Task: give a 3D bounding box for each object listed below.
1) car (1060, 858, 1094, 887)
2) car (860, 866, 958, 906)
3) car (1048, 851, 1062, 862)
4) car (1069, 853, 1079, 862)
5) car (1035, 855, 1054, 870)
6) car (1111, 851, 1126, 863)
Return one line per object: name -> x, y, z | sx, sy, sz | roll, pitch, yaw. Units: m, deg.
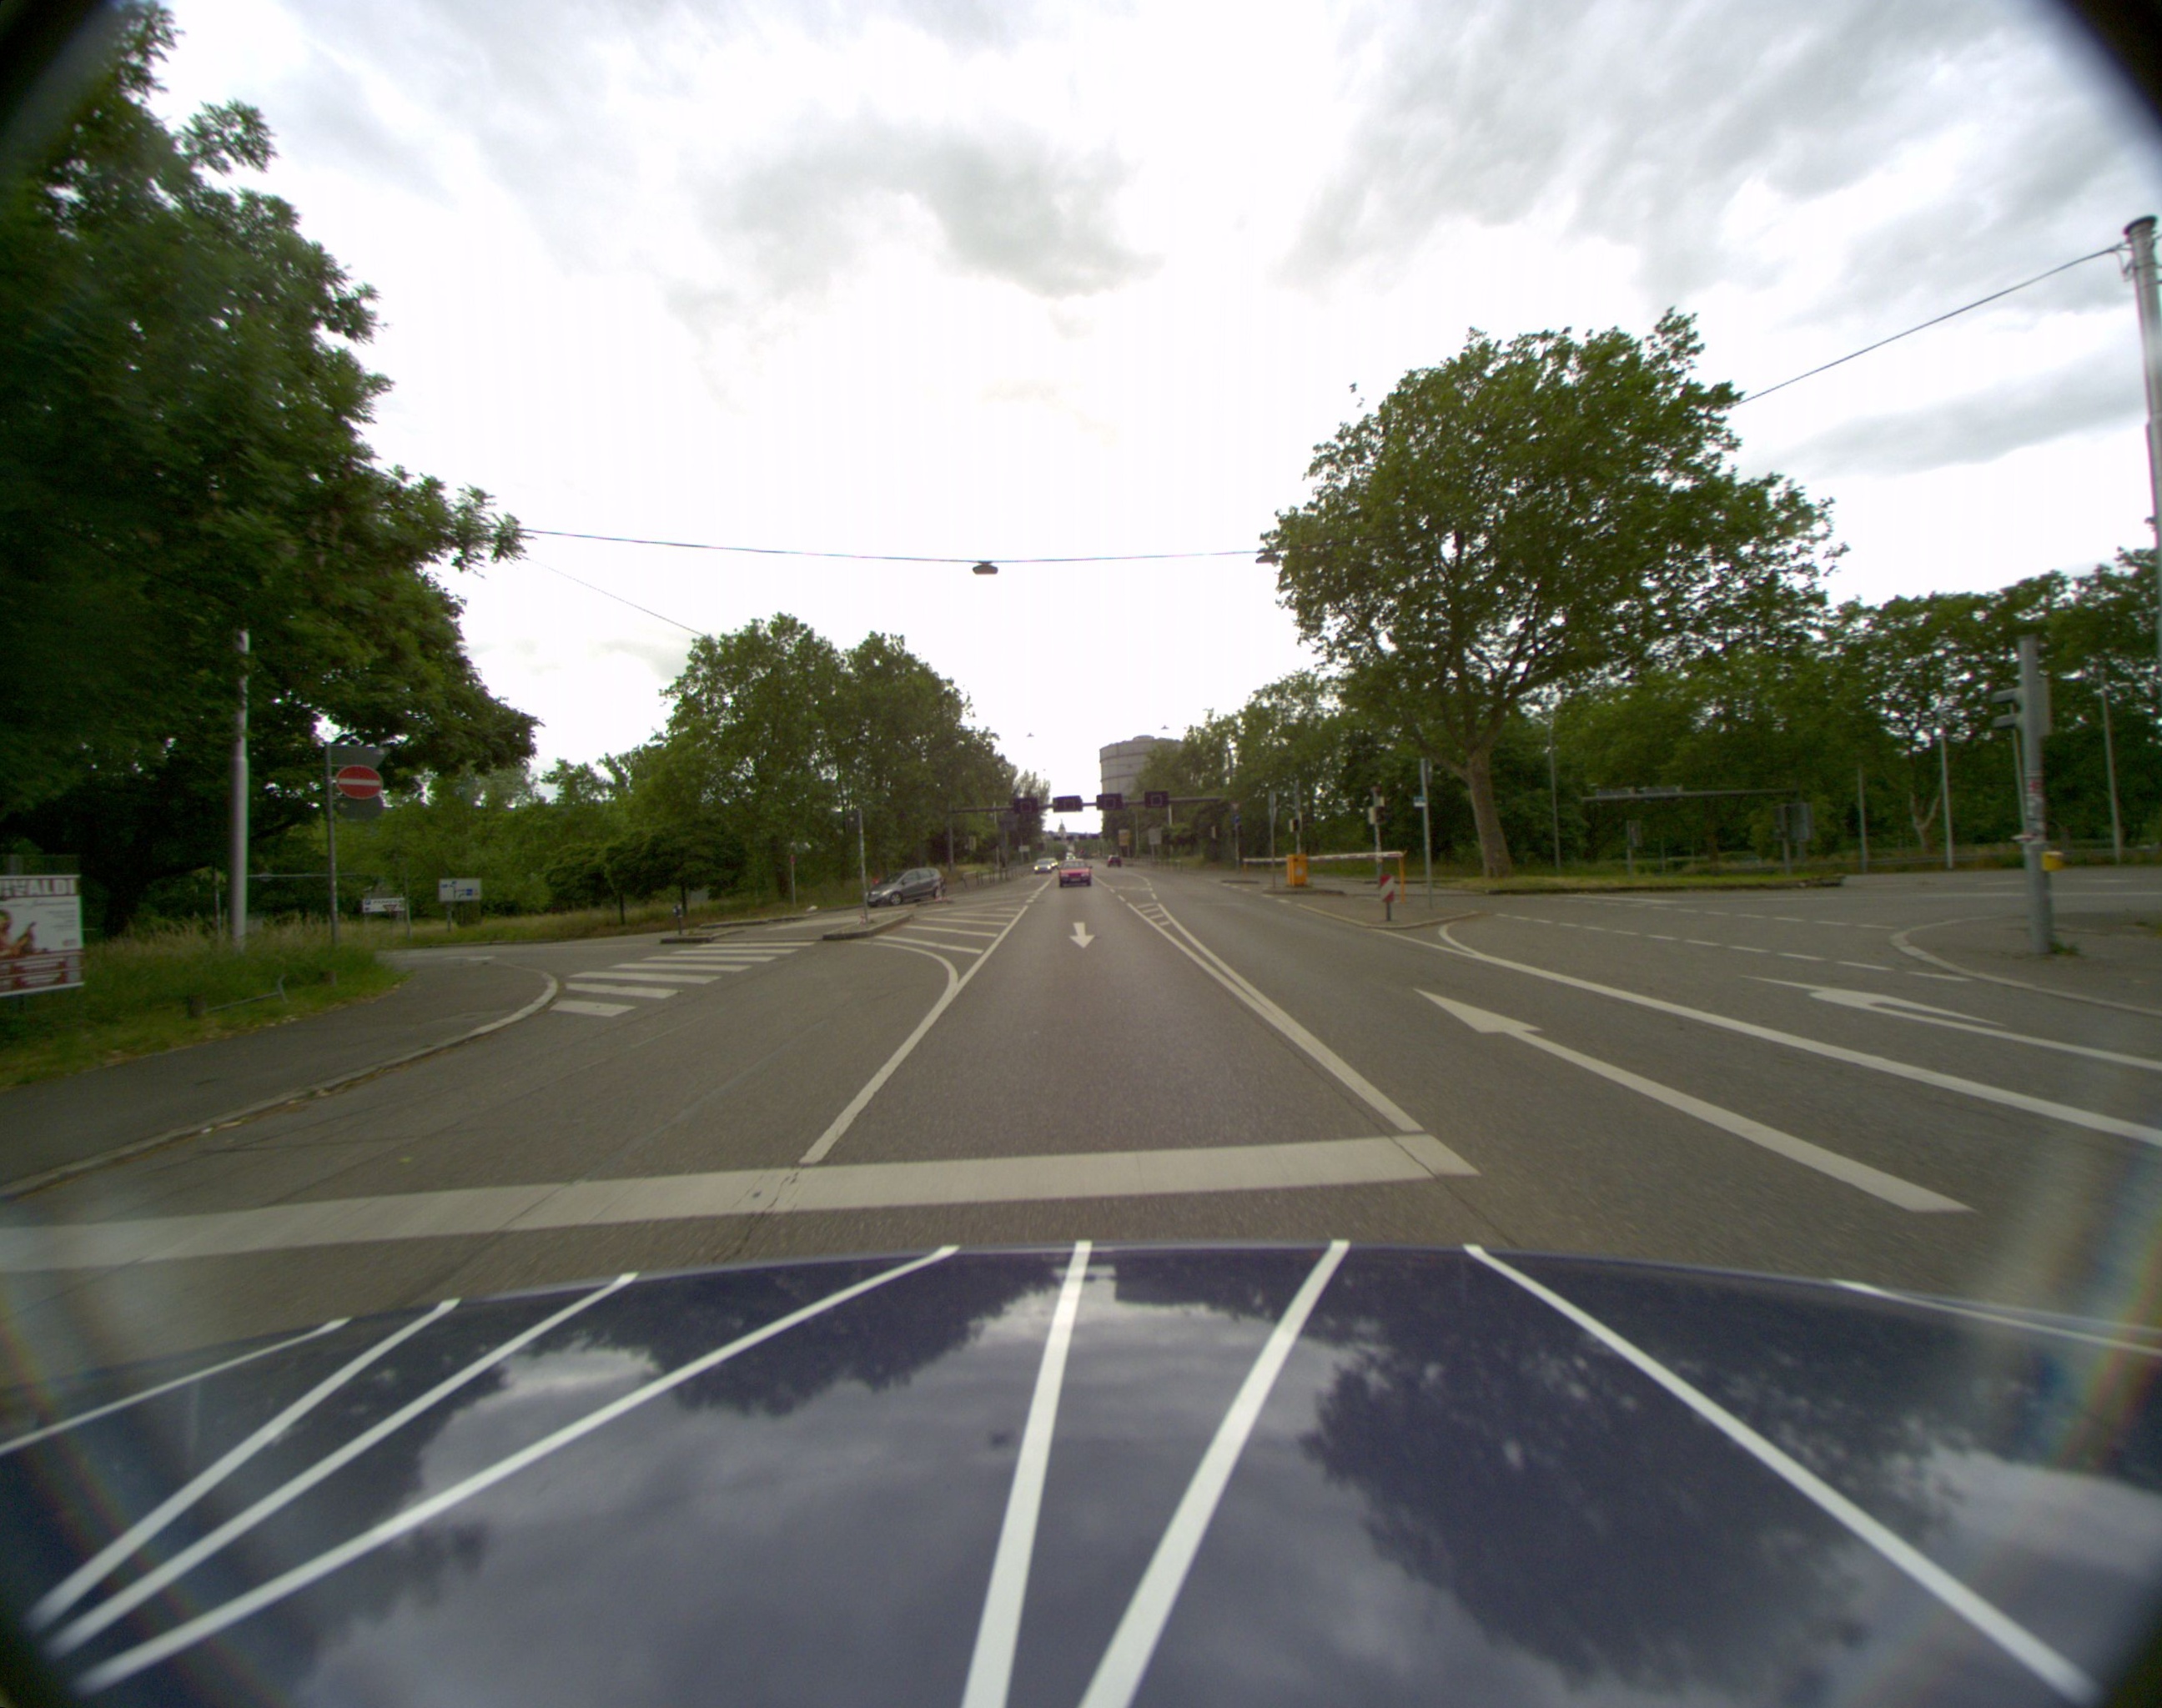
car -> -0.223, 0.947, 40.585 | 1.696, 1.434, 4.000 | -1, -1, -1
car -> -7.917, 1.465, 35.257 | 1.827, 1.606, 4.042 | -4, -1, 40
car -> -4.219, 0.411, 123.624 | 1.998, 1.775, 4.000 | -3, -1, 1
car -> -1.680, 0.798, 178.472 | 1.998, 1.792, 4.000 | -4, 0, 2
car -> -3.942, 0.926, 82.375 | 1.771, 1.565, 4.000 | -2, 0, 0
car -> 5.338, 0.412, 108.247 | 1.998, 1.650, 4.517 | -1, 0, 2
